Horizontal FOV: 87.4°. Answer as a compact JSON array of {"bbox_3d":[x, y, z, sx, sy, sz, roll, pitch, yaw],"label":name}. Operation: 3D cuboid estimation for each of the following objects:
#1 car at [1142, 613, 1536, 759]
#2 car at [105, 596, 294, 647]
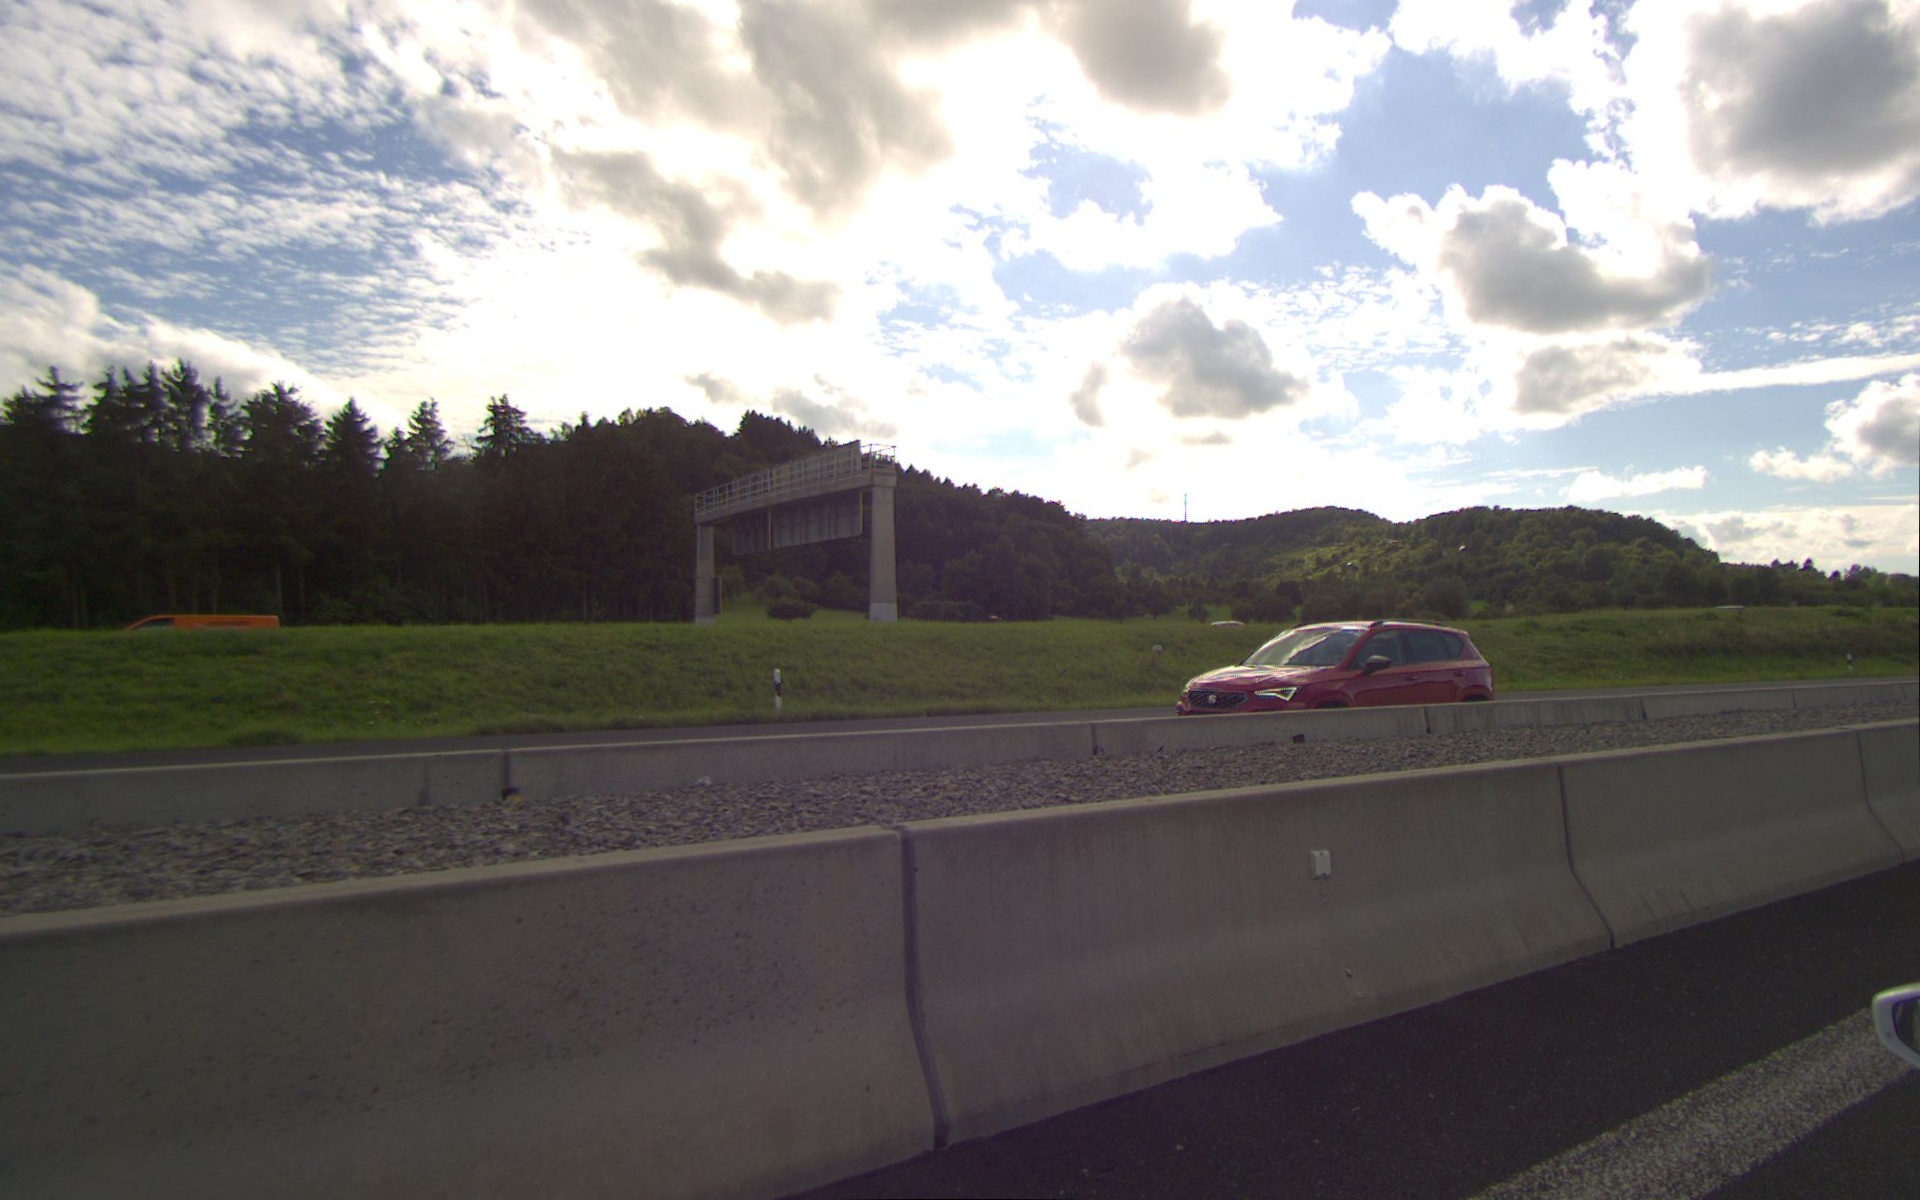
[{"bbox_3d":[4.536,0.933,11.796,4.744,1.416,1.779,2,-3,-31],"label":"car"},{"bbox_3d":[-24.912,0.745,33.134,4.843,1.568,1.760,2,-3,-36],"label":"car"}]
